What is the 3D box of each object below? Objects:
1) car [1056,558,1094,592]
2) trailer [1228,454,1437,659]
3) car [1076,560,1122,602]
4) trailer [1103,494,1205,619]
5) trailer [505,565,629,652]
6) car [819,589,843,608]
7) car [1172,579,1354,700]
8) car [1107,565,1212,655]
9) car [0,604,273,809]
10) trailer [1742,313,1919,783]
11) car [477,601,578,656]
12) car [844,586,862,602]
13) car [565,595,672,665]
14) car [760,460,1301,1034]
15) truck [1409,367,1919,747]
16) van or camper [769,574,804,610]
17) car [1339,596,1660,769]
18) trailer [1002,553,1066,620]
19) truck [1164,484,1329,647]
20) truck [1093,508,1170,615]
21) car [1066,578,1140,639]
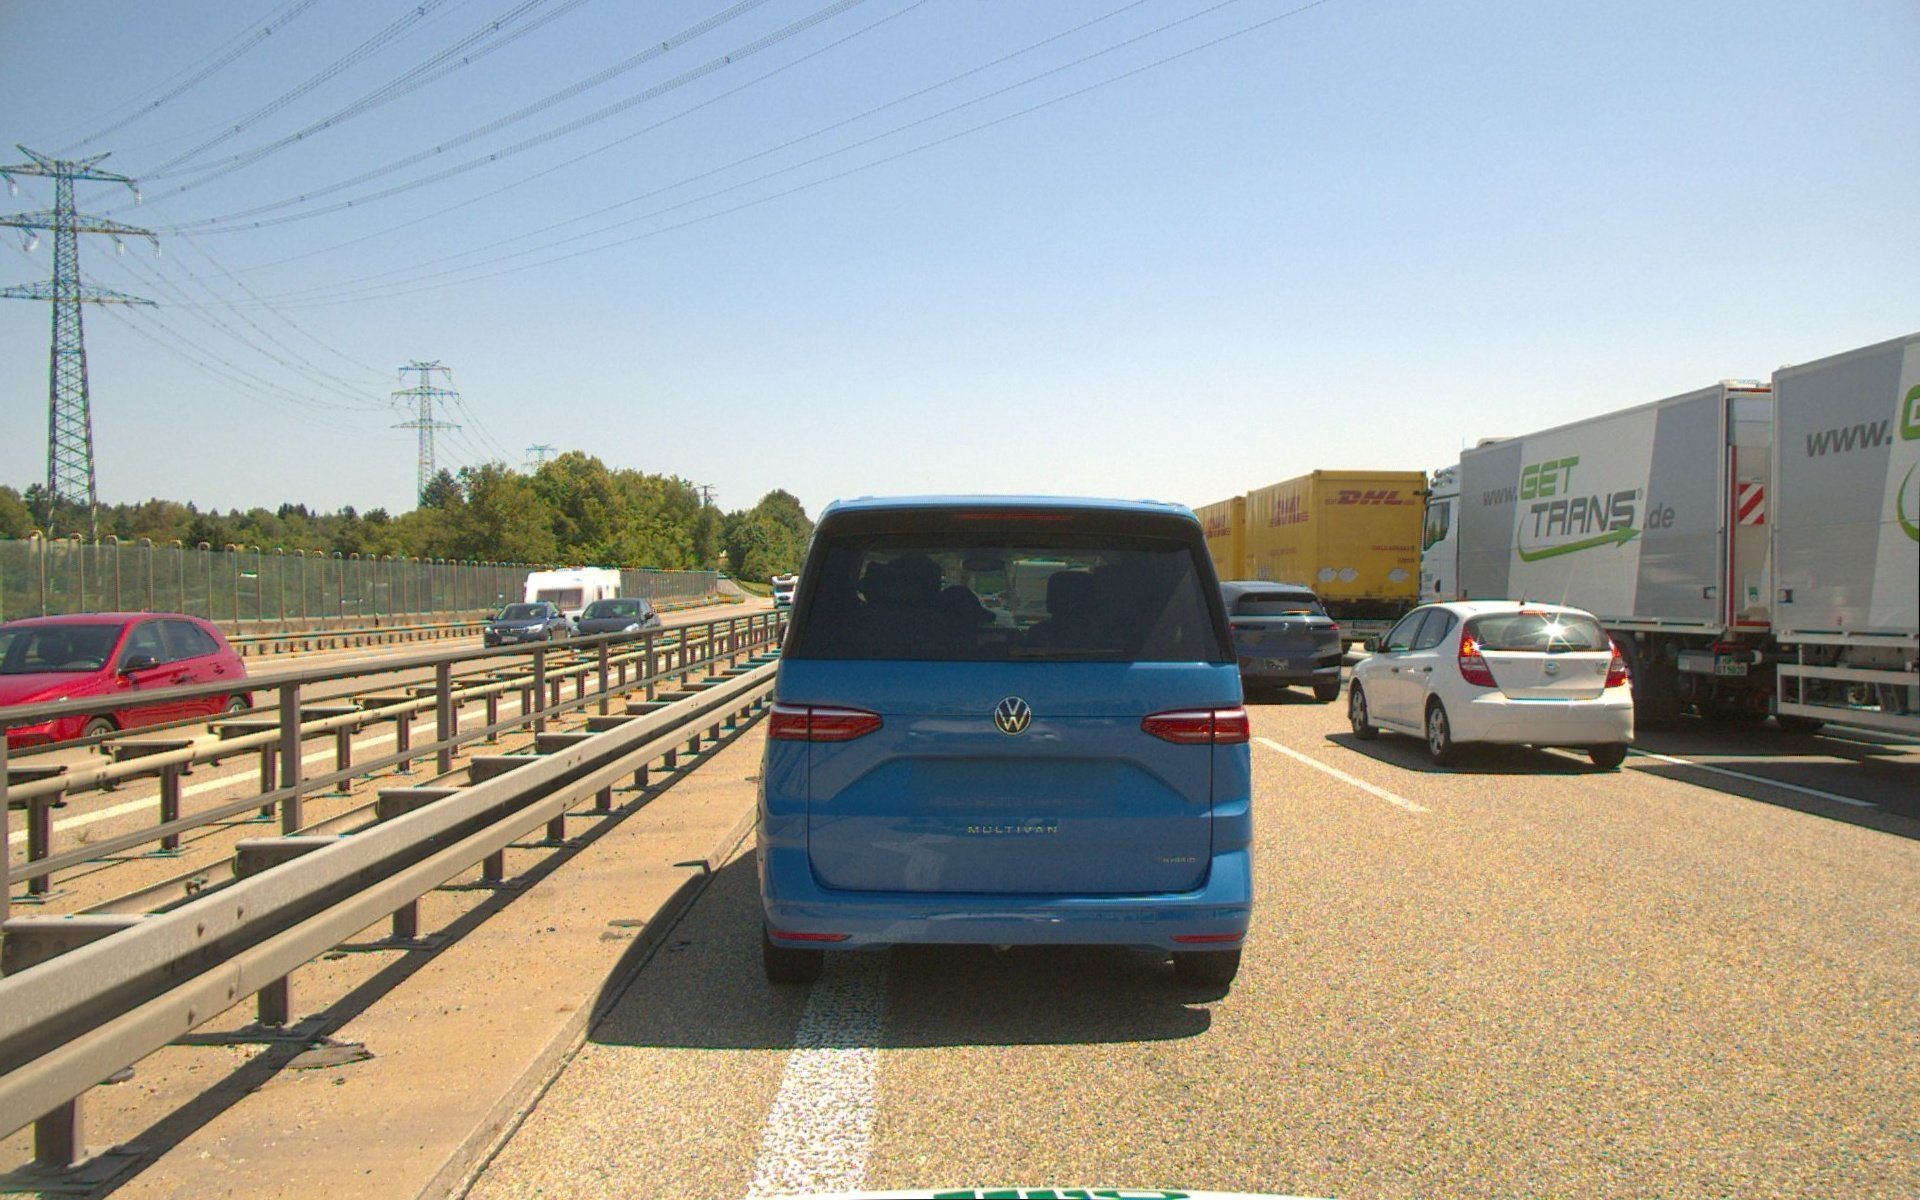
[{"bbox_3d":[6.992,-1.498,101.116,1.953,2.049,4.460,-1,0,-1],"label":"car"},{"bbox_3d":[8.646,-0.924,39.618,2.806,4.313,9.009,1,0,-1],"label":"trailer"},{"bbox_3d":[7.031,-0.947,83.971,1.953,2.049,3.999,1,0,-1],"label":"car"},{"bbox_3d":[7.698,-1.638,67.052,2.583,4.595,11.299,1,0,-1],"label":"trailer"},{"bbox_3d":[-12.793,0.228,54.400,2.442,2.593,6.773,-2,0,-1],"label":"trailer"},{"bbox_3d":[-11.904,-0.155,153.296,1.830,1.558,4.424,-4,0,-1],"label":"car"},{"bbox_3d":[4.481,0.530,25.120,1.922,1.673,4.292,0,0,-1],"label":"car"},{"bbox_3d":[4.697,0.215,39.465,1.922,2.028,4.292,0,0,-1],"label":"car"},{"bbox_3d":[-7.777,0.843,14.574,1.755,1.503,3.988,-2,0,-1],"label":"car"},{"bbox_3d":[9.045,-0.412,12.191,2.643,3.765,8.013,0,0,-1],"label":"trailer"},{"bbox_3d":[-12.657,0.792,48.654,1.739,1.432,4.681,-2,0,-1],"label":"car"},{"bbox_3d":[-12.624,-0.713,194.850,1.829,1.729,4.429,-3,0,-2],"label":"car"},{"bbox_3d":[-8.114,0.685,39.656,1.634,1.473,4.000,-3,0,0],"label":"car"},{"bbox_3d":[0.215,0.489,7.551,1.783,1.890,4.074,1,0,-1],"label":"car"},{"bbox_3d":[8.795,-0.460,21.711,2.603,3.711,11.008,0,0,-1],"label":"truck"},{"bbox_3d":[-15.580,-0.694,148.606,2.373,3.076,7.025,-2,0,-1],"label":"van or camper"},{"bbox_3d":[5.174,0.710,16.493,1.752,1.481,4.292,0,0,-1],"label":"car"},{"bbox_3d":[3.529,-0.600,81.177,2.517,3.042,10.661,1,0,-1],"label":"trailer"},{"bbox_3d":[8.345,-0.937,49.676,2.778,4.317,11.008,1,0,-1],"label":"truck"},{"bbox_3d":[7.623,-1.645,74.344,2.613,4.562,6.848,1,0,-1],"label":"truck"},{"bbox_3d":[4.455,0.250,52.121,1.953,1.847,3.999,0,0,-1],"label":"car"}]
